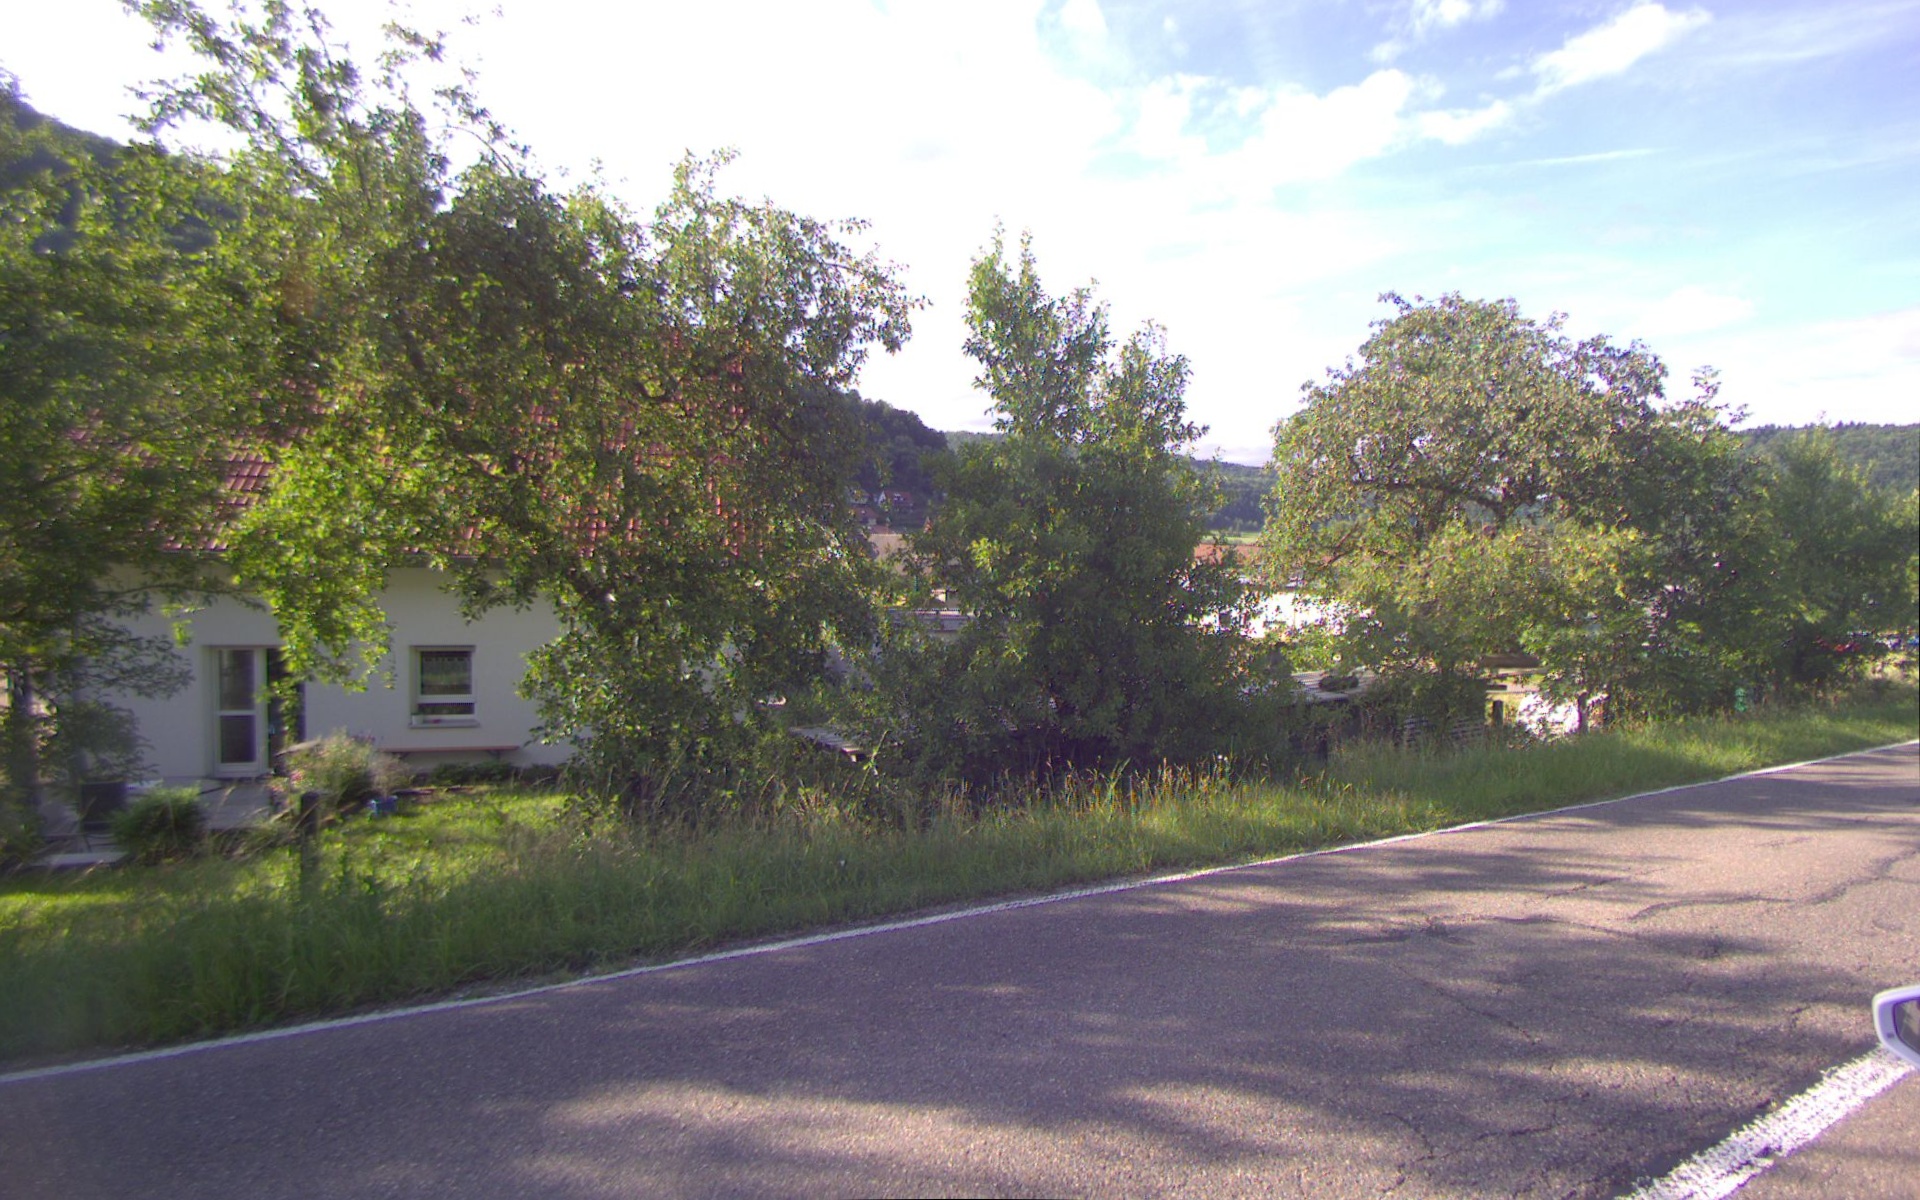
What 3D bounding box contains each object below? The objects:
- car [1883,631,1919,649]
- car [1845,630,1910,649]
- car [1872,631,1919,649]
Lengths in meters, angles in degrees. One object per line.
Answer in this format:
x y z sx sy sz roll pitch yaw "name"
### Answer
89.750 3.799 94.500 1.762 1.574 3.966 2 0 -31 "car"
82.377 3.552 90.189 1.762 1.574 3.966 2 0 -31 "car"
87.562 3.726 93.286 1.762 1.574 3.966 2 0 -31 "car"
